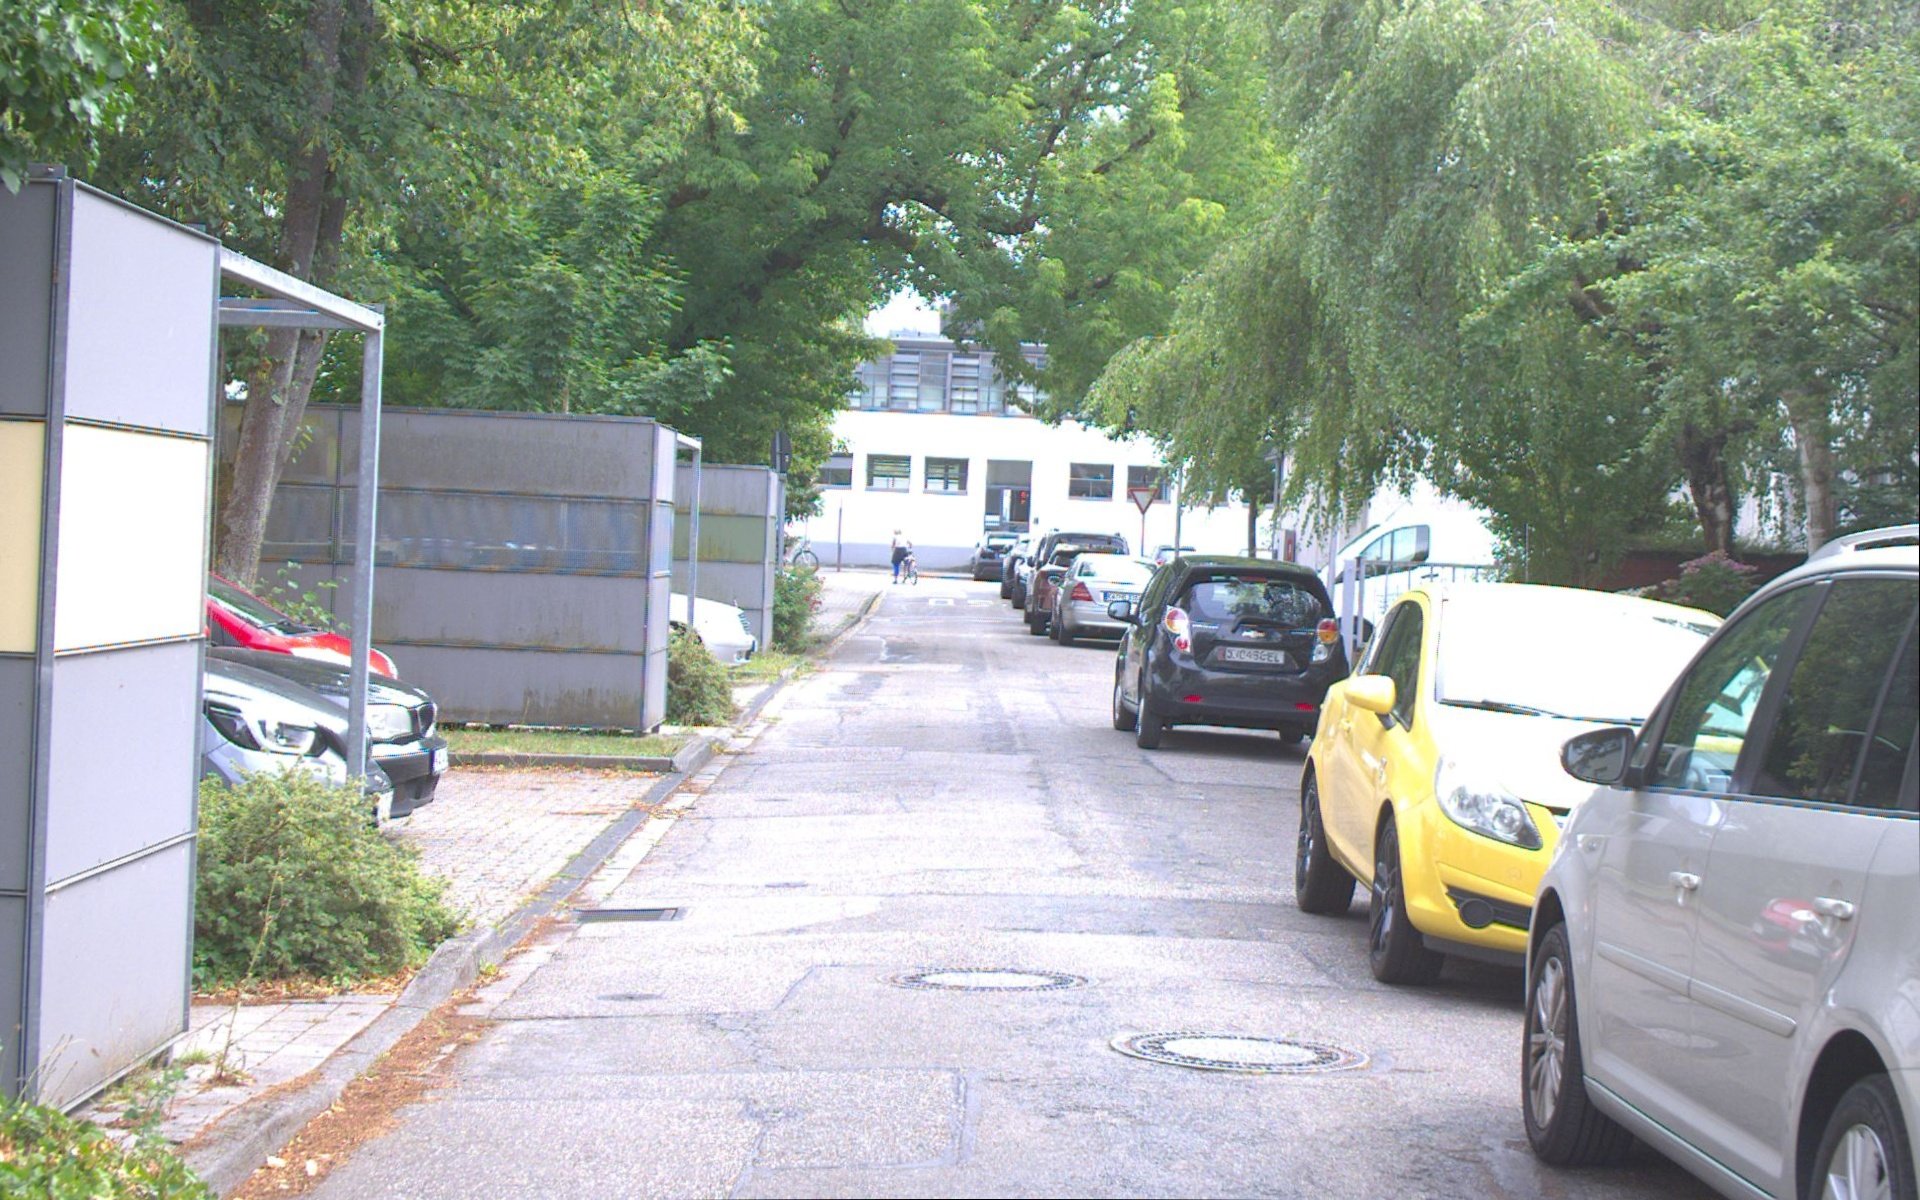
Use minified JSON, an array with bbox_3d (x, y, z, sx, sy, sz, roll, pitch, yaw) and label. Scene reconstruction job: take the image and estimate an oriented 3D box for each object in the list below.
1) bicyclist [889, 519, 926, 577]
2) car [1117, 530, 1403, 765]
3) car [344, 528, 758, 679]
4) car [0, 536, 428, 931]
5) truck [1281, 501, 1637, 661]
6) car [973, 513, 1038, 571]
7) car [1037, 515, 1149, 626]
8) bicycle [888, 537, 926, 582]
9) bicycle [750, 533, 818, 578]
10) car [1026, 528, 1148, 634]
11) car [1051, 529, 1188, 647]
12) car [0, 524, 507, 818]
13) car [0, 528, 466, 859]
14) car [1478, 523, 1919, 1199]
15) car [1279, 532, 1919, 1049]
[{"bbox_3d":[-1.422,-1.401,93.077,0.798,1.505,0.934,4,1,-8],"label":"bicyclist"},{"bbox_3d":[2.309,0.308,27.482,1.825,1.576,4.193,5,1,0],"label":"car"},{"bbox_3d":[-4.161,0.017,35.386,4.031,1.389,1.738,2,1,-1],"label":"car"},{"bbox_3d":[-4.323,0.463,14.088,3.987,1.459,1.738,2,1,-1],"label":"car"},{"bbox_3d":[6.581,-0.263,45.712,4.390,2.007,2.000,1,1,0],"label":"truck"},{"bbox_3d":[1.393,-1.779,104.987,1.825,1.576,4.000,5,1,0],"label":"car"},{"bbox_3d":[2.451,-0.577,64.291,1.825,1.876,4.000,5,1,0],"label":"car"},{"bbox_3d":[-1.438,-1.095,93.120,0.688,1.127,2.580,4,1,-7],"label":"bicycle"},{"bbox_3d":[-4.961,-1.254,97.033,1.805,1.115,0.629,4,1,-2],"label":"bicycle"},{"bbox_3d":[2.113,-0.353,58.266,1.825,1.576,4.000,5,1,0],"label":"car"},{"bbox_3d":[2.400,-0.223,52.535,1.825,1.576,4.000,5,1,0],"label":"car"},{"bbox_3d":[-4.626,0.341,19.008,3.987,1.459,1.738,2,1,-1],"label":"car"},{"bbox_3d":[-4.546,0.391,16.797,3.987,1.459,1.738,2,1,-1],"label":"car"},{"bbox_3d":[2.425,0.704,7.305,1.825,1.576,4.001,5,1,-2],"label":"car"},{"bbox_3d":[2.400,0.602,13.536,1.825,1.576,4.000,5,1,0],"label":"car"}]
